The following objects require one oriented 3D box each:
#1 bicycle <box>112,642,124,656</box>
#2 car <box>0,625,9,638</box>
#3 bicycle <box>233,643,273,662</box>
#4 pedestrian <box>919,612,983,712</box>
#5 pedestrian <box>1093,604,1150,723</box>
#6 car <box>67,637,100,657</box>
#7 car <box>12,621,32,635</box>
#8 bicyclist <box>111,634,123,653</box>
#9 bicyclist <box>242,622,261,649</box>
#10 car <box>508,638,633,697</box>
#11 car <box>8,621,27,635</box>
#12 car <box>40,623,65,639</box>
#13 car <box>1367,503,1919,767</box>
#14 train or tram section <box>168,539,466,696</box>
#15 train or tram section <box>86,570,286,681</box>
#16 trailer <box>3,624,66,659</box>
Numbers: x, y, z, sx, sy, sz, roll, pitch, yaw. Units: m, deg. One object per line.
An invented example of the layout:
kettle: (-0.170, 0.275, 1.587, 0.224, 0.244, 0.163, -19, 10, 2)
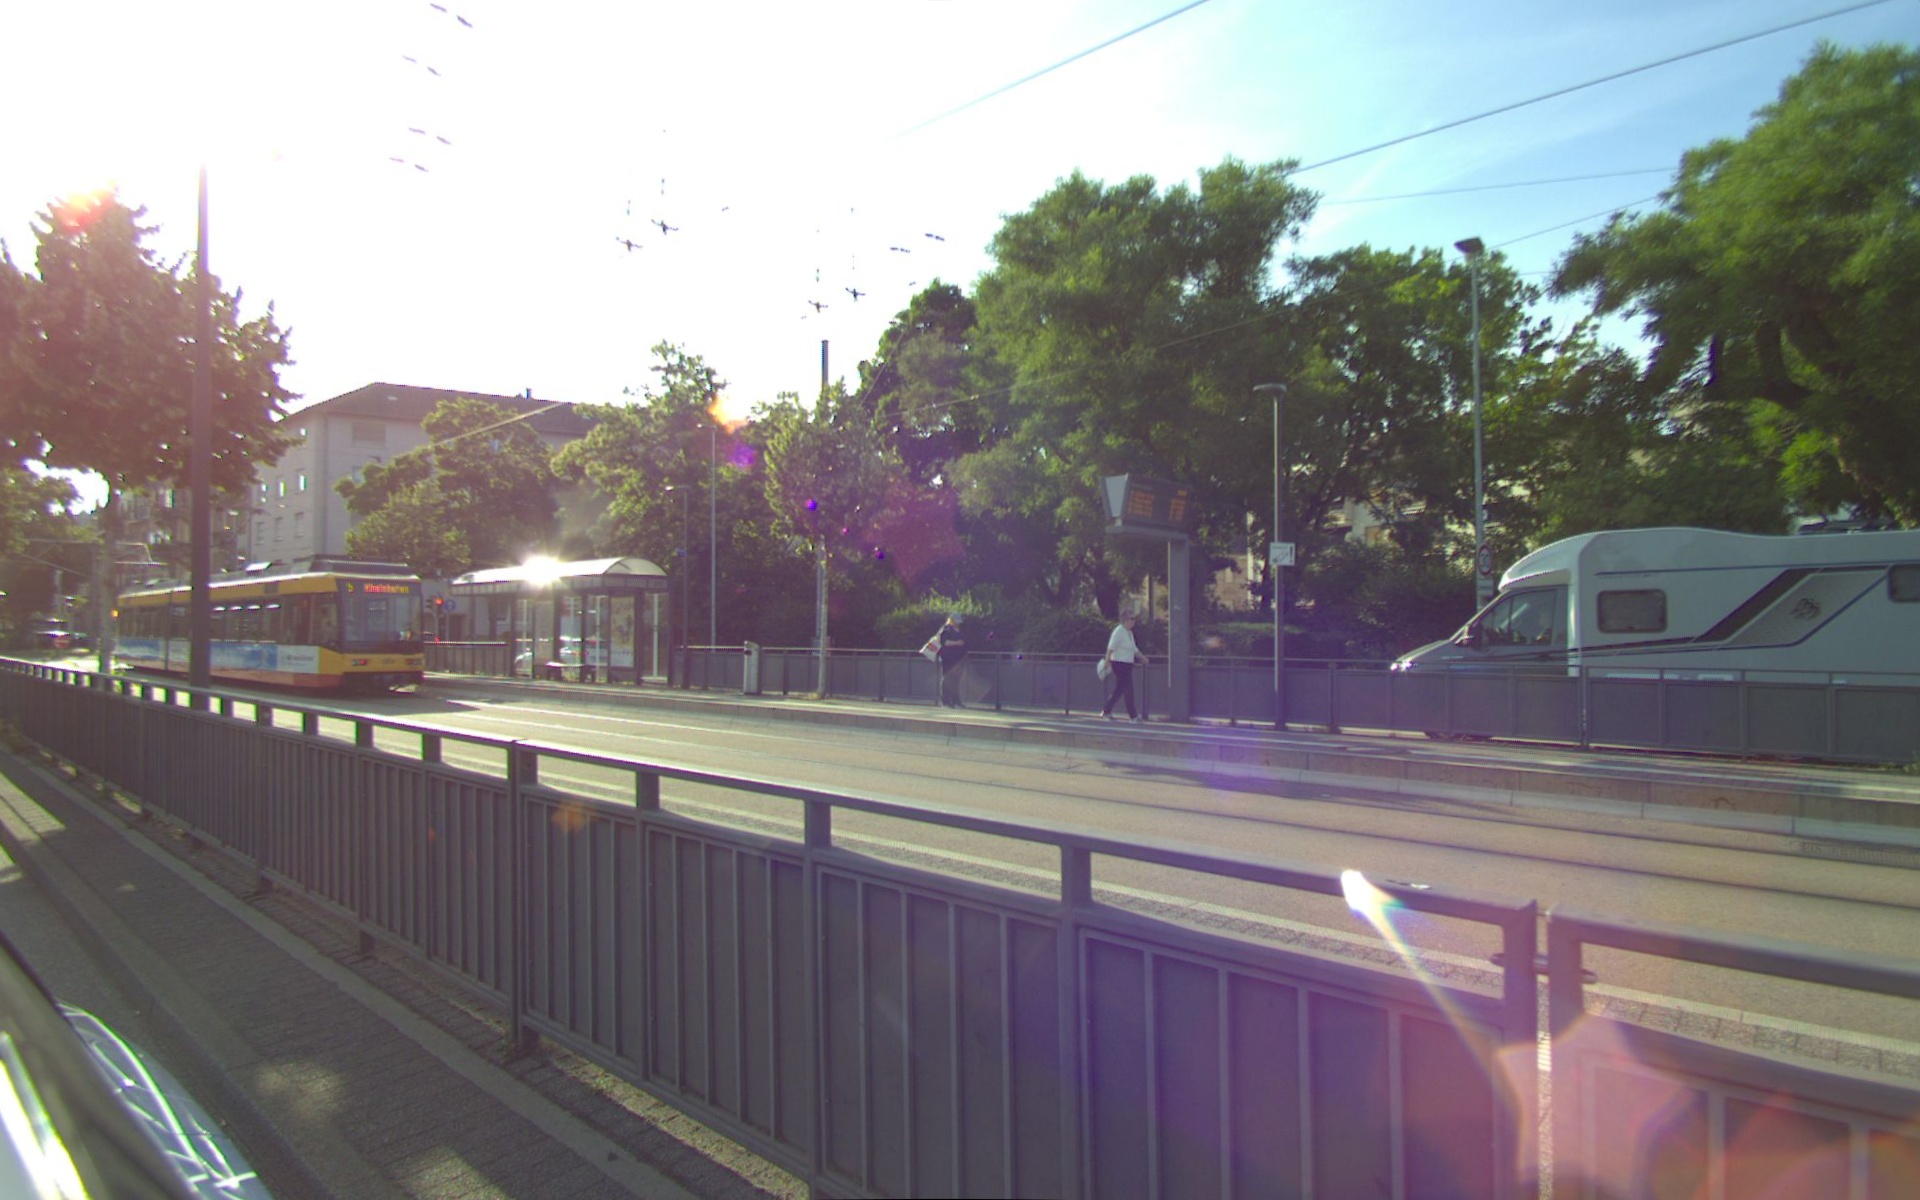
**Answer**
bicycle: (-65.308, 3.788, 78.491, 0.535, 1.026, 2.251, 1, -2, -45)
car: (-154.401, 5.024, 162.561, 3.998, 2.029, 1.973, -2, -2, 41)
bicycle: (-42.779, 3.196, 61.268, 1.883, 1.119, 0.737, 1, -2, -28)
pedestrian: (-0.144, 1.034, 17.096, 0.859, 1.654, 0.660, -2, -2, 25)
pedestrian: (2.296, 0.900, 14.420, 0.606, 1.654, 0.576, -2, -5, 37)
car: (-89.104, 4.757, 102.900, 4.612, 1.915, 2.141, -2, -2, 44)
car: (-136.291, 4.044, 147.010, 1.971, 2.029, 4.002, 1, -2, -45)
bicyclist: (-65.485, 3.359, 78.613, 0.717, 1.424, 0.643, -2, -2, 44)
bicyclist: (-42.858, 2.153, 61.214, 0.760, 1.655, 0.797, 1, -3, -26)
car: (-12.167, 2.050, 31.515, 3.997, 1.697, 1.973, -2, -2, 40)
car: (-144.225, 4.296, 154.880, 1.971, 2.029, 4.002, 1, -2, -45)
car: (-113.247, 3.883, 126.288, 3.999, 2.029, 1.972, -2, -2, 42)
car: (9.422, 0.431, 12.797, 7.465, 2.756, 2.569, -2, -2, 42)
train or tram section: (-18.656, 0.615, 28.545, 14.463, 3.506, 3.129, -2, -2, 41)
train or tram section: (-29.471, 1.040, 38.074, 14.524, 3.506, 3.129, -2, -2, 41)
trailer: (-65.257, 2.931, 71.418, 2.817, 2.410, 1.728, 0, -2, -17)
